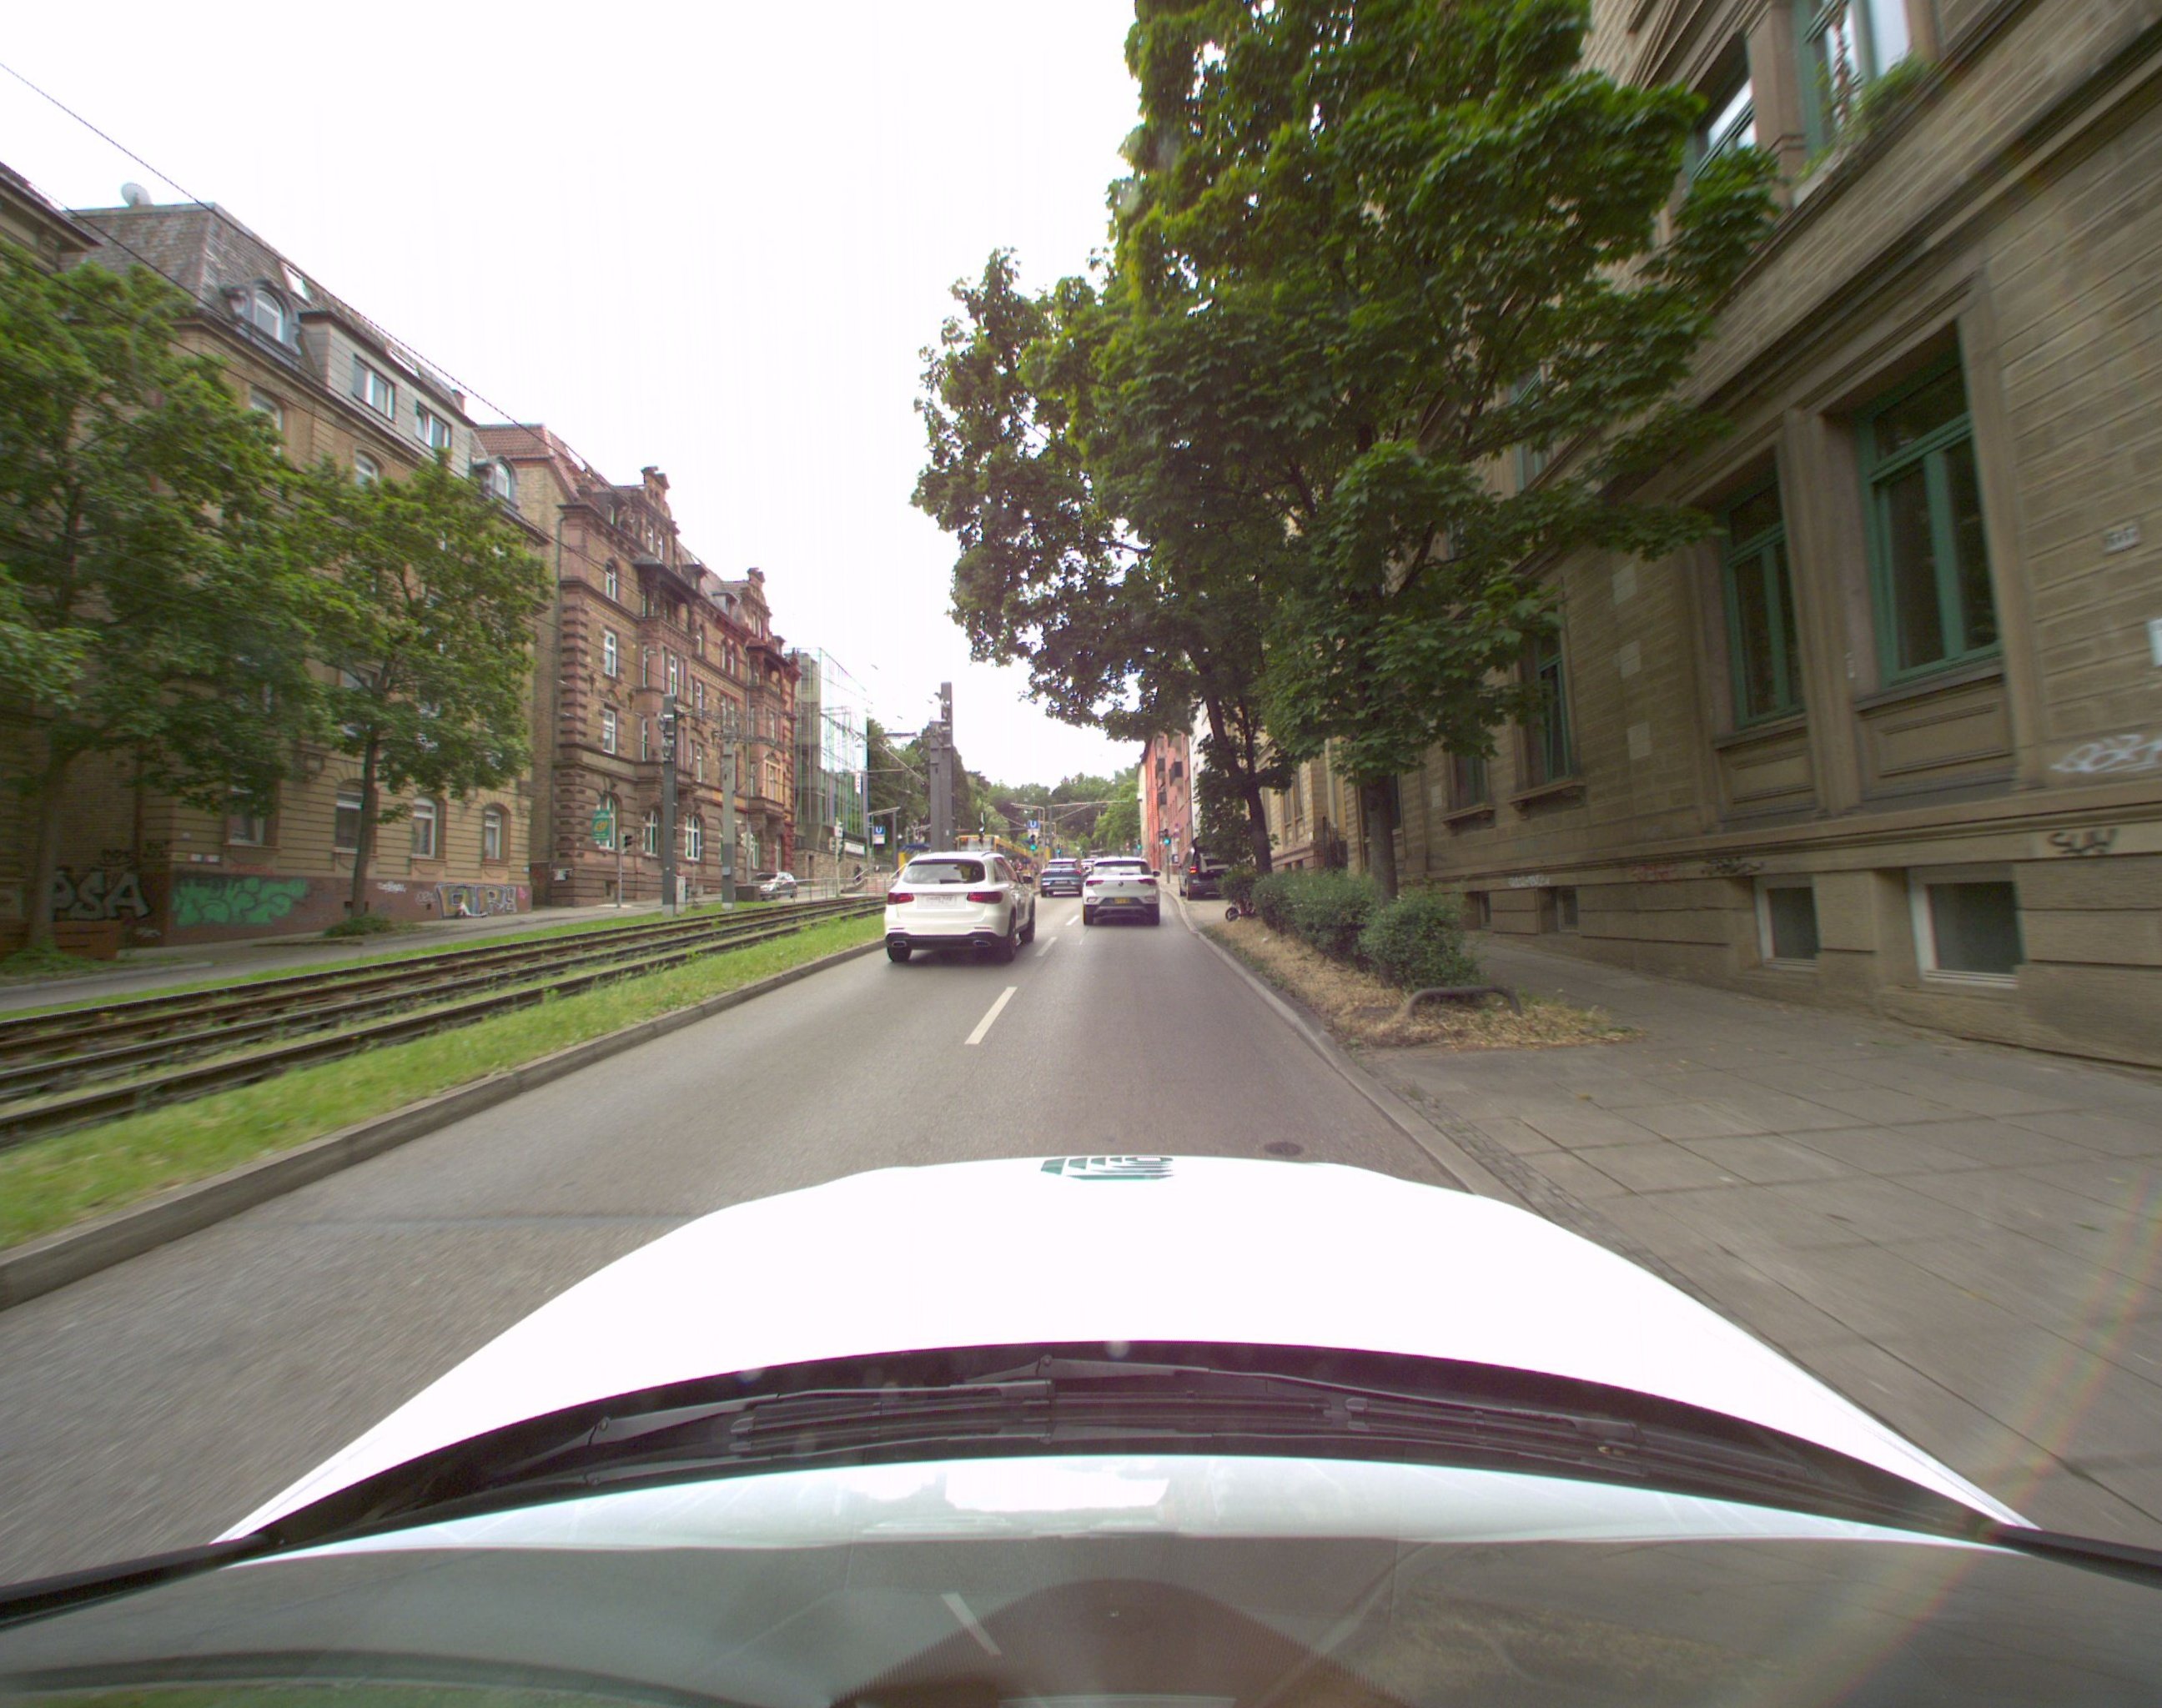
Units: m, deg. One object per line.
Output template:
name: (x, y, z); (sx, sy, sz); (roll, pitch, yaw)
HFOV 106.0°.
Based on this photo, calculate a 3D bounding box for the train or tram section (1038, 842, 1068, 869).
train or tram section: (-3.711, 0.237, 110.918); (2.984, 3.349, 13.447); (-2, 0, 3)

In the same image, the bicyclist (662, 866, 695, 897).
bicyclist: (-19.220, 1.294, 38.937); (0.935, 1.425, 1.188); (-2, 0, 1)

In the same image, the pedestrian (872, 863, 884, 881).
pedestrian: (-19.733, 1.724, 79.138); (0.806, 1.755, 0.817); (-2, 0, 2)

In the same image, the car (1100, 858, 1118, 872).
car: (3.208, 1.269, 93.502); (2.060, 1.546, 4.195); (-1, 0, 2)

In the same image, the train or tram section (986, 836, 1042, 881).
train or tram section: (-5.582, 0.381, 70.466); (2.984, 3.349, 13.538); (-2, 0, 3)

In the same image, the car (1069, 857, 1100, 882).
car: (0.236, 0.957, 52.116); (1.828, 1.546, 4.195); (-1, 0, 2)

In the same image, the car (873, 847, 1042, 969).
car: (-1.819, 0.754, 13.576); (1.828, 1.667, 4.675); (-1, 0, 3)

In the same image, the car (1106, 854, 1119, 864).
car: (5.106, 0.776, 132.418); (2.060, 1.546, 4.195); (-1, 0, 2)

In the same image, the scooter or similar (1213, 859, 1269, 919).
scooter or similar: (3.179, 0.694, 16.228); (1.031, 1.119, 0.332); (-3, -1, 7)

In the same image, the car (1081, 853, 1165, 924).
car: (0.959, 0.768, 20.055); (1.829, 1.546, 4.193); (-1, 0, 1)

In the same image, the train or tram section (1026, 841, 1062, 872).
train or tram section: (-4.315, 0.263, 97.479); (2.984, 3.349, 13.447); (-2, 0, 3)

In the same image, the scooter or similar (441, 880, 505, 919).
scooter or similar: (-21.649, 1.582, 29.052); (0.627, 1.255, 2.214); (-2, 0, -1)

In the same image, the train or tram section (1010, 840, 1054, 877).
train or tram section: (-4.918, 0.457, 83.971); (2.984, 3.349, 13.447); (-2, 0, 3)

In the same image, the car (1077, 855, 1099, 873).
car: (0.679, 0.911, 75.235); (1.828, 1.546, 4.195); (-1, 0, 2)

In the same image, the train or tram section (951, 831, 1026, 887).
train or tram section: (-6.158, 0.353, 56.918); (2.984, 3.349, 13.447); (-2, 0, 3)

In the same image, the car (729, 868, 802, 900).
car: (-16.059, 1.497, 41.624); (1.985, 1.403, 4.002); (-2, 0, 2)

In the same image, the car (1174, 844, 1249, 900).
car: (4.198, 0.557, 26.844); (1.829, 1.601, 4.195); (-4, 0, 2)

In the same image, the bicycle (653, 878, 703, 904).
bicycle: (-19.196, 1.755, 38.891); (0.935, 1.100, 2.703); (-2, 0, 2)

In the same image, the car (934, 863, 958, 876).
car: (-15.216, 1.718, 92.201); (1.823, 1.403, 4.002); (-2, 0, 2)

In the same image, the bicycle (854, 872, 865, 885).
bicycle: (-19.813, 2.171, 72.916); (0.571, 1.143, 1.304); (-2, 0, 2)

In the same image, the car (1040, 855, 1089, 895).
car: (-0.649, 0.848, 34.421); (1.828, 1.546, 4.195); (-1, 0, 2)

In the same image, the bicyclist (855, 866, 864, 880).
bicyclist: (-19.828, 1.694, 72.928); (0.516, 1.191, 0.656); (-2, -1, 2)
